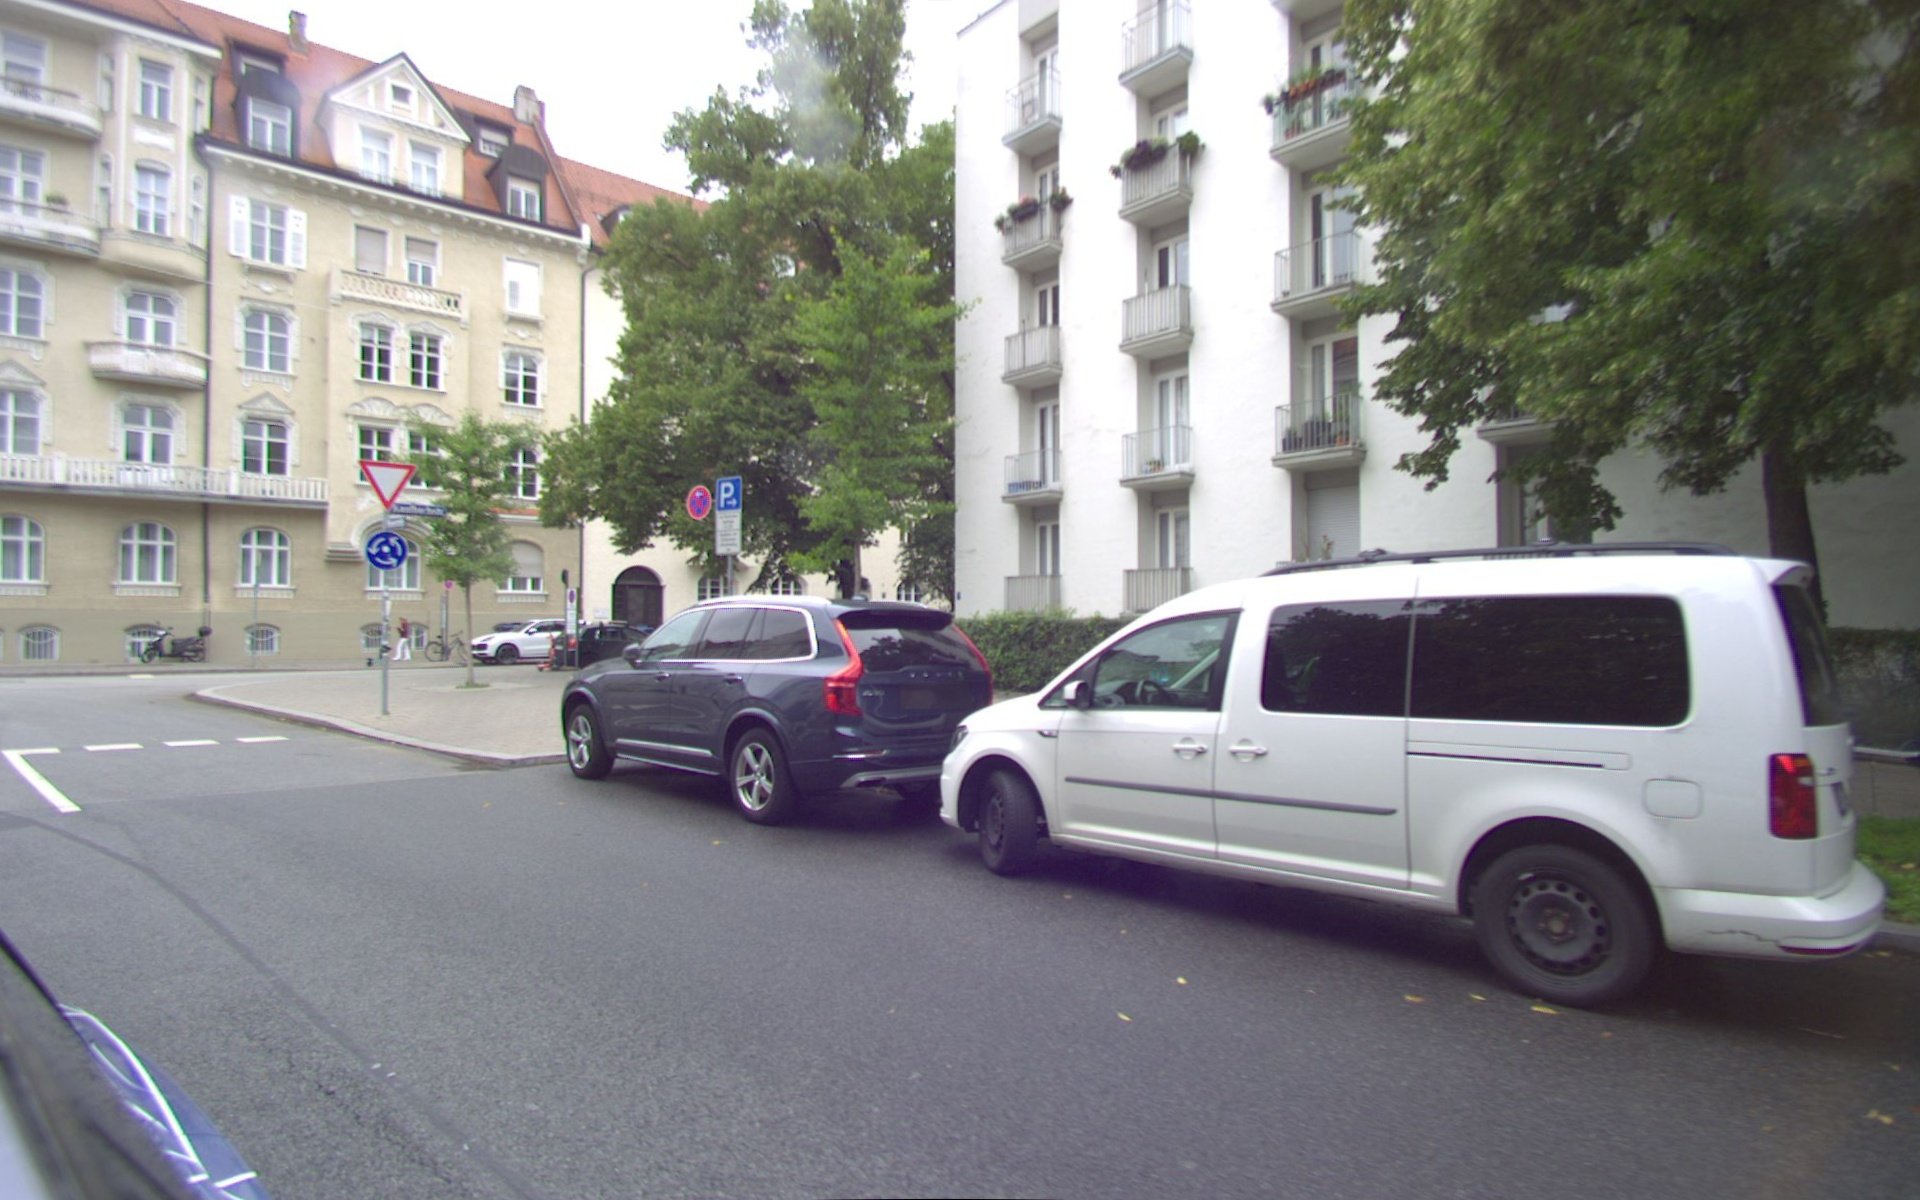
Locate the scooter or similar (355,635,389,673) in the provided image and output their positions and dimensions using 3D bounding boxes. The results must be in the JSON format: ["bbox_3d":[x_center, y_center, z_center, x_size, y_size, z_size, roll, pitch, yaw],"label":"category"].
[{"bbox_3d":[-19.998,1.810,34.430,0.403,1.239,1.278,1,-1,-2],"label":"scooter or similar"}]

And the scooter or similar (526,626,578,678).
[{"bbox_3d":[-11.446,1.454,28.403,1.093,1.398,0.800,-2,-2,9],"label":"scooter or similar"}]

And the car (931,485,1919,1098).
[{"bbox_3d":[2.178,0.691,5.460,1.858,1.952,4.835,3,-4,-45],"label":"car"}]

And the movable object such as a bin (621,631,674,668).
[{"bbox_3d":[-12.516,1.977,40.506,1.843,1.383,1.570,1,-1,-23],"label":"movable object such as a bin"}]

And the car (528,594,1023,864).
[{"bbox_3d":[-1.944,0.872,9.151,1.858,1.781,5.062,2,-1,-45],"label":"car"}]

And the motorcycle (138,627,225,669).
[{"bbox_3d":[-26.049,1.594,33.887,2.212,1.336,0.824,2,-2,-43],"label":"motorcycle"}]

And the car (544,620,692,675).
[{"bbox_3d":[-10.516,1.475,31.329,1.591,1.602,4.040,-3,-4,44],"label":"car"}]

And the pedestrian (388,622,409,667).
[{"bbox_3d":[-21.004,1.653,37.873,0.597,1.677,0.464,2,-1,-36],"label":"pedestrian"}]

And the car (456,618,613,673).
[{"bbox_3d":[-15.810,1.677,37.769,4.952,1.880,2.169,2,-2,-41],"label":"car"}]

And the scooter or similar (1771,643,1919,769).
[{"bbox_3d":[8.871,1.009,9.800,1.563,1.126,0.535,0,-1,42],"label":"scooter or similar"}]

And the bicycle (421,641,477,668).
[{"bbox_3d":[-18.929,1.994,37.519,1.782,0.964,0.468,2,-1,-38],"label":"bicycle"}]
